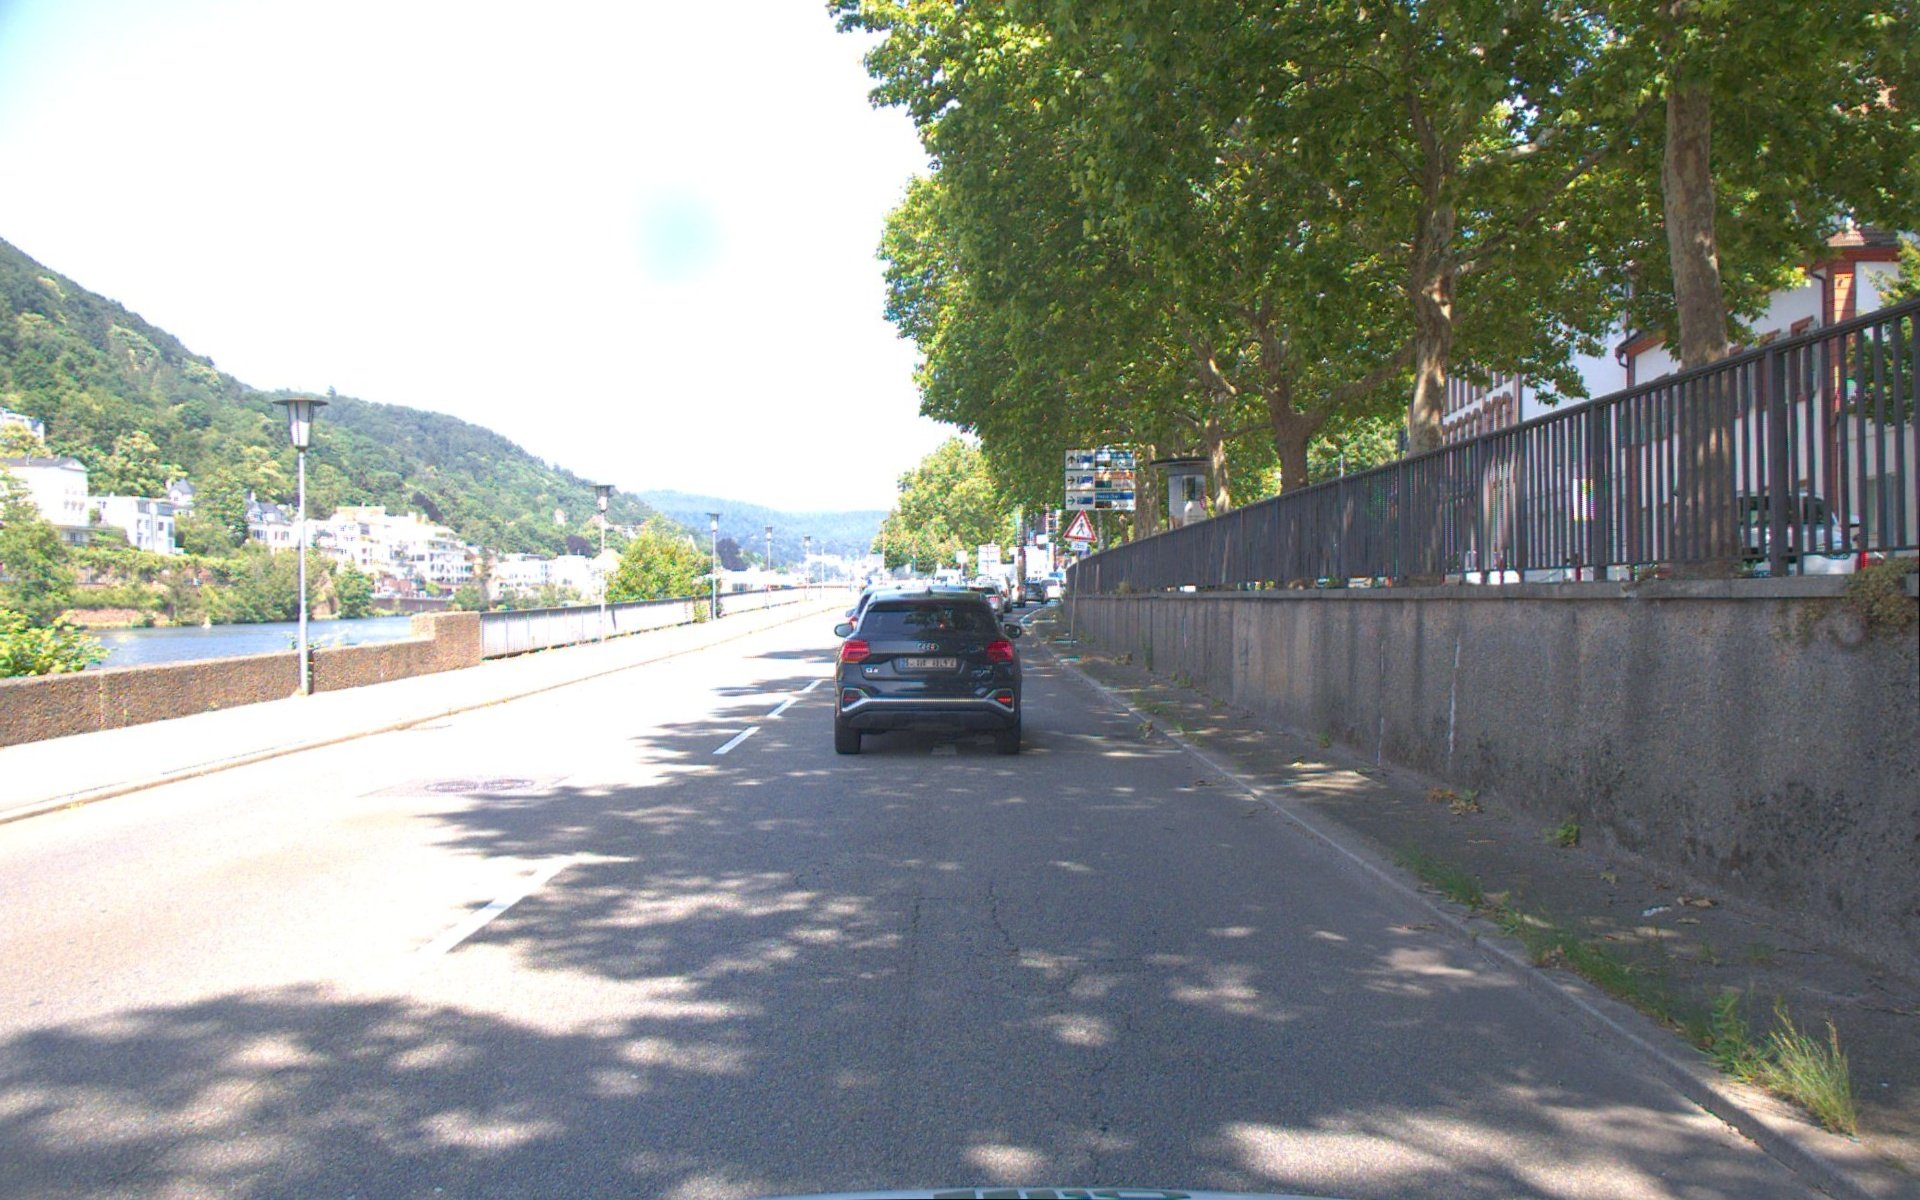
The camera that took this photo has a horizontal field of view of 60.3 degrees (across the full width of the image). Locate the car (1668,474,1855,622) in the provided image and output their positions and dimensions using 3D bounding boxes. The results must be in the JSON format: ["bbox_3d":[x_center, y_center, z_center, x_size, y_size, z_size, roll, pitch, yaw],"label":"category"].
[{"bbox_3d":[9.179,-0.537,18.880,1.740,1.495,3.995,0,0,27],"label":"car"}]

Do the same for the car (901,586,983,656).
[{"bbox_3d":[-0.436,0.446,38.021,1.791,1.512,3.999,0,0,-1],"label":"car"}]

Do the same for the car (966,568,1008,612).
[{"bbox_3d":[1.381,-0.521,86.289,1.953,2.207,3.999,-2,0,-1],"label":"car"}]

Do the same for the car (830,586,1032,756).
[{"bbox_3d":[-0.300,0.618,16.735,1.791,1.512,3.999,0,0,-1],"label":"car"}]

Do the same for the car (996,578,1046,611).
[{"bbox_3d":[4.131,-0.376,113.166,3.036,2.049,5.823,-2,0,-1],"label":"car"}]

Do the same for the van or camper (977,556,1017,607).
[{"bbox_3d":[2.194,-1.111,98.919,2.262,2.897,4.246,-2,0,1],"label":"van or camper"}]

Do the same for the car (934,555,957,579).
[{"bbox_3d":[-1.369,-3.014,150.546,1.953,2.048,3.999,-3,0,-1],"label":"car"}]

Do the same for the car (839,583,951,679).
[{"bbox_3d":[-1.085,0.488,28.612,1.791,1.537,3.999,0,0,-1],"label":"car"}]

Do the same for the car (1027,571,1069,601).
[{"bbox_3d":[6.609,-1.074,124.587,2.608,2.048,5.823,-3,0,-1],"label":"car"}]

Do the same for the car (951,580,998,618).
[{"bbox_3d":[0.552,-0.046,66.799,1.791,1.470,3.999,0,0,-1],"label":"car"}]
